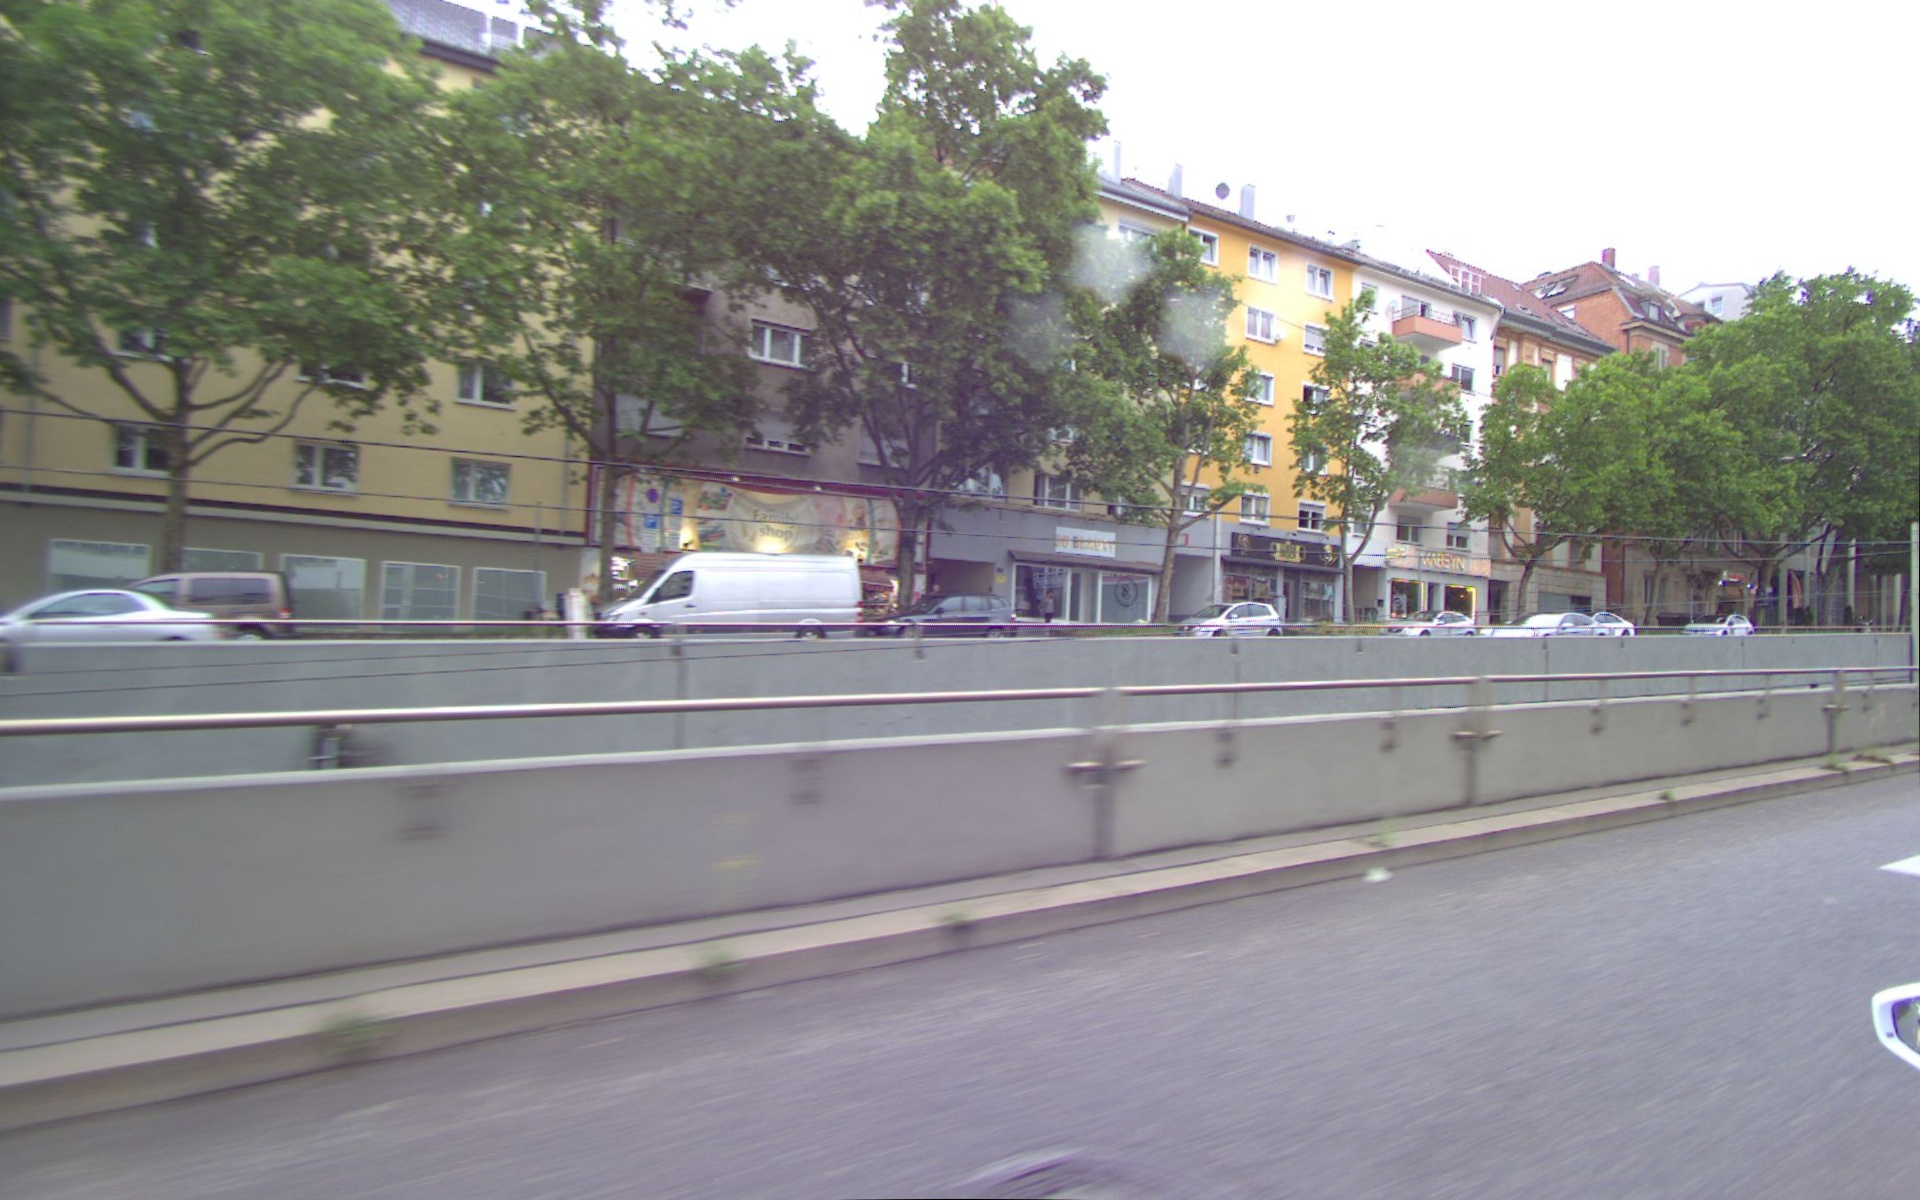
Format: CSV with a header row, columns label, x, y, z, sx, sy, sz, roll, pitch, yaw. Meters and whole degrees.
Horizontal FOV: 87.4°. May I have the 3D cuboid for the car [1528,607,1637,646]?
label,x,y,z,sx,sy,sz,roll,pitch,yaw
car,27.556,1.153,44.423,5.137,1.622,1.918,1,0,-30

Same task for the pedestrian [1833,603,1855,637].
label,x,y,z,sx,sy,sz,roll,pitch,yaw
pedestrian,55.401,1.262,62.947,0.923,2.040,0.666,2,0,-27

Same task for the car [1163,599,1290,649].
label,x,y,z,sx,sy,sz,roll,pitch,yaw
car,9.218,0.822,34.701,4.156,1.592,1.786,1,0,-29

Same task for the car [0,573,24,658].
label,x,y,z,sx,sy,sz,roll,pitch,yaw
car,-20.211,0.253,18.187,4.421,1.604,1.867,1,0,-31

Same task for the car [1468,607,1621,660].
label,x,y,z,sx,sy,sz,roll,pitch,yaw
car,18.628,1.053,31.982,4.823,1.530,2.017,1,0,-29

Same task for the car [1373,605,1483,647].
label,x,y,z,sx,sy,sz,roll,pitch,yaw
car,18.360,1.024,39.382,4.156,1.530,1.786,1,0,-29

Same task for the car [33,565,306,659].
label,x,y,z,sx,sy,sz,roll,pitch,yaw
car,-15.862,0.244,20.483,4.159,1.752,1.784,1,0,-32

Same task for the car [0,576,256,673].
label,x,y,z,sx,sy,sz,roll,pitch,yaw
car,-14.588,0.399,17.127,3.965,1.530,1.839,1,0,-27

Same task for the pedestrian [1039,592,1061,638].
label,x,y,z,sx,sy,sz,roll,pitch,yaw
pedestrian,3.544,0.595,39.626,0.612,1.772,0.522,2,2,-22

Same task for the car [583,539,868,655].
label,x,y,z,sx,sy,sz,roll,pitch,yaw
car,-6.036,-0.028,26.240,6.848,2.698,2.441,1,0,-30

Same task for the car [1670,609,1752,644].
label,x,y,z,sx,sy,sz,roll,pitch,yaw
car,37.196,1.325,49.719,4.064,1.633,1.785,1,0,-30

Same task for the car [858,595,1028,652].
label,x,y,z,sx,sy,sz,roll,pitch,yaw
car,-0.463,0.661,28.985,4.615,1.530,1.786,1,0,-30
